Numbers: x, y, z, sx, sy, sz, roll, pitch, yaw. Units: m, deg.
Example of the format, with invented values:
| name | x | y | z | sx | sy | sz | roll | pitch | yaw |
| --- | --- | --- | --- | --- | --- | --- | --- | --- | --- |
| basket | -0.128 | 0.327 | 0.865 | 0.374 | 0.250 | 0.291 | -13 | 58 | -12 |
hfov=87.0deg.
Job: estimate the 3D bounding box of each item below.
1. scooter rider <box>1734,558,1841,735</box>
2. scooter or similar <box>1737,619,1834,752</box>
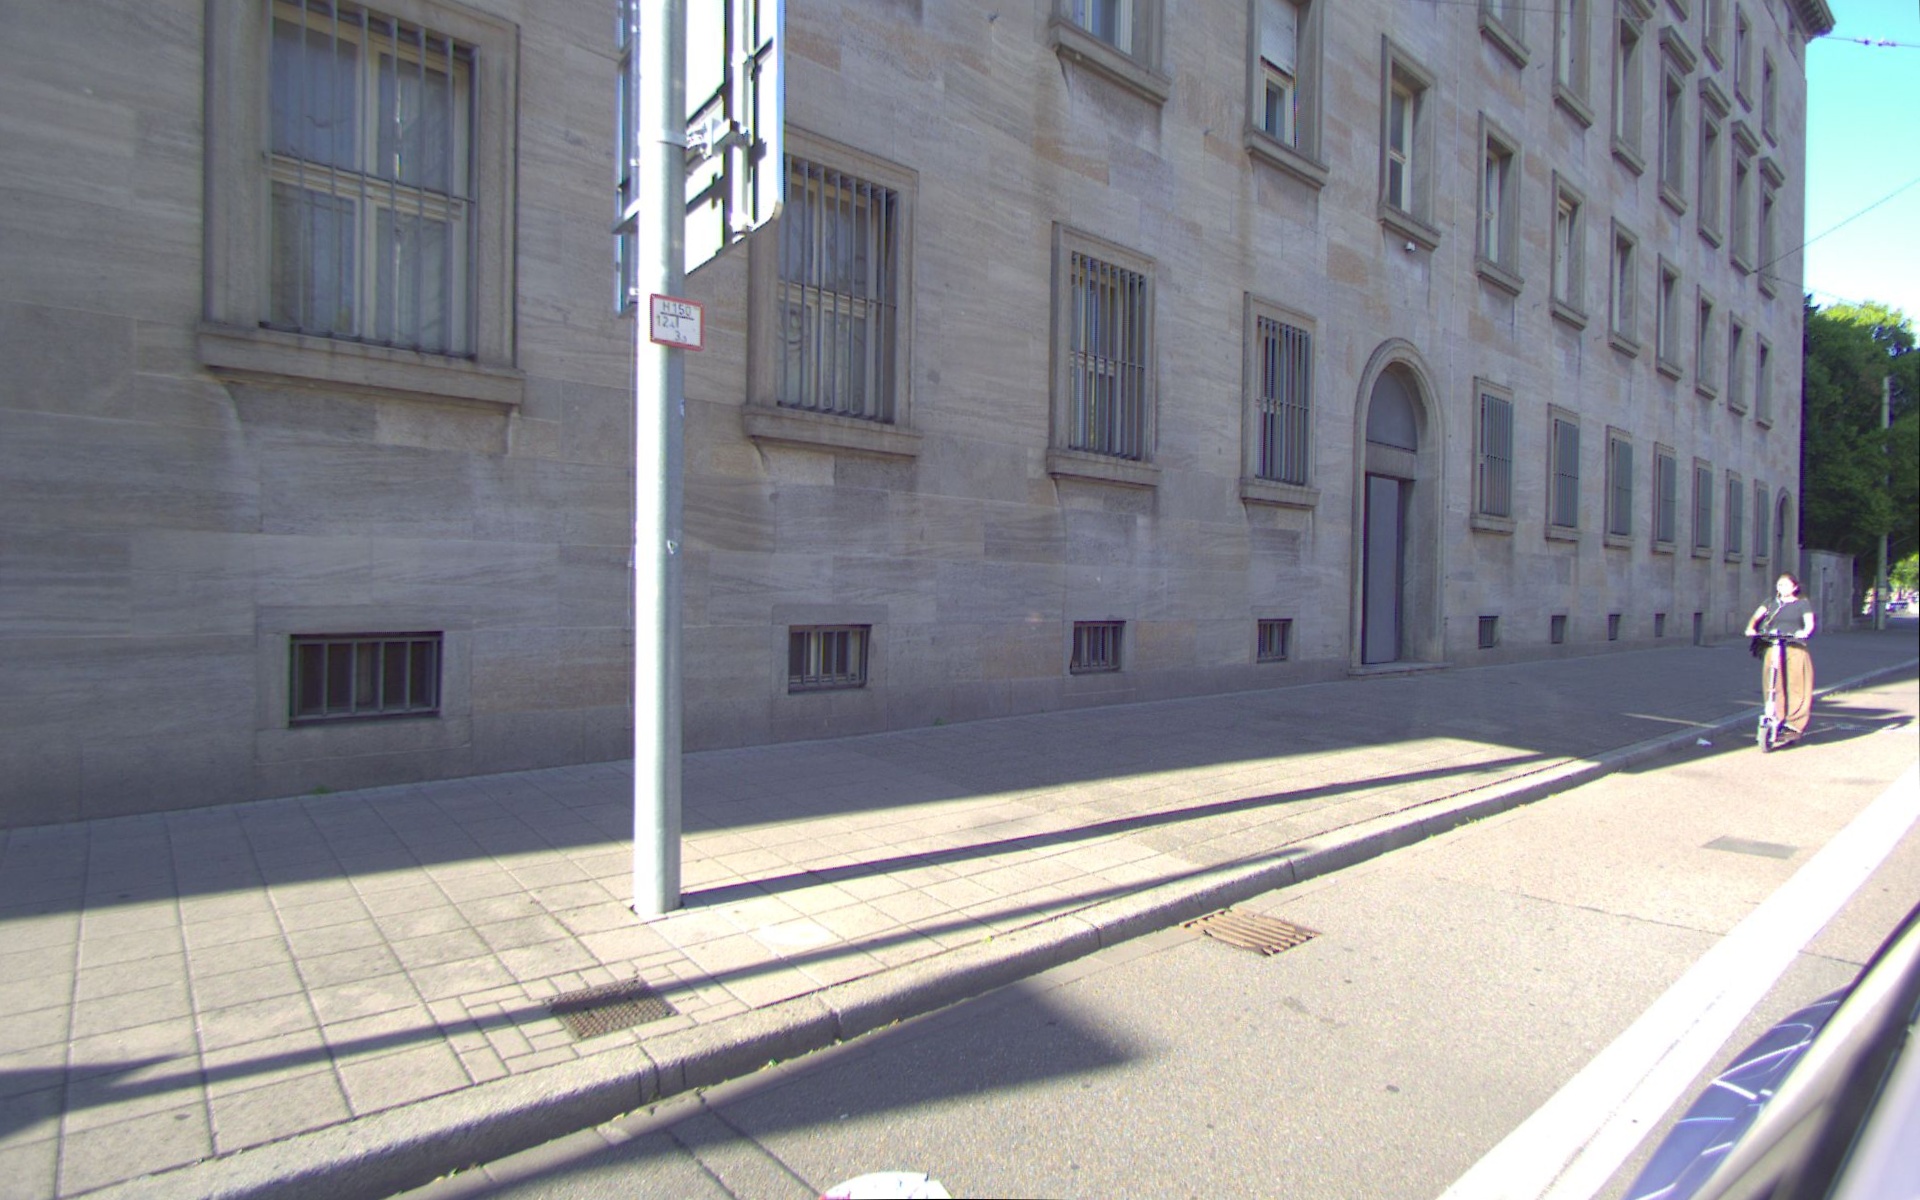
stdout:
| name | x | y | z | sx | sy | sz | roll | pitch | yaw |
| --- | --- | --- | --- | --- | --- | --- | --- | --- | --- |
| scooter rider | 8.255 | 0.435 | 10.104 | 0.547 | 1.692 | 0.730 | 0 | 1 | -41 |
| scooter or similar | 8.227 | 0.812 | 10.077 | 1.305 | 1.200 | 0.535 | 0 | 1 | -42 |
